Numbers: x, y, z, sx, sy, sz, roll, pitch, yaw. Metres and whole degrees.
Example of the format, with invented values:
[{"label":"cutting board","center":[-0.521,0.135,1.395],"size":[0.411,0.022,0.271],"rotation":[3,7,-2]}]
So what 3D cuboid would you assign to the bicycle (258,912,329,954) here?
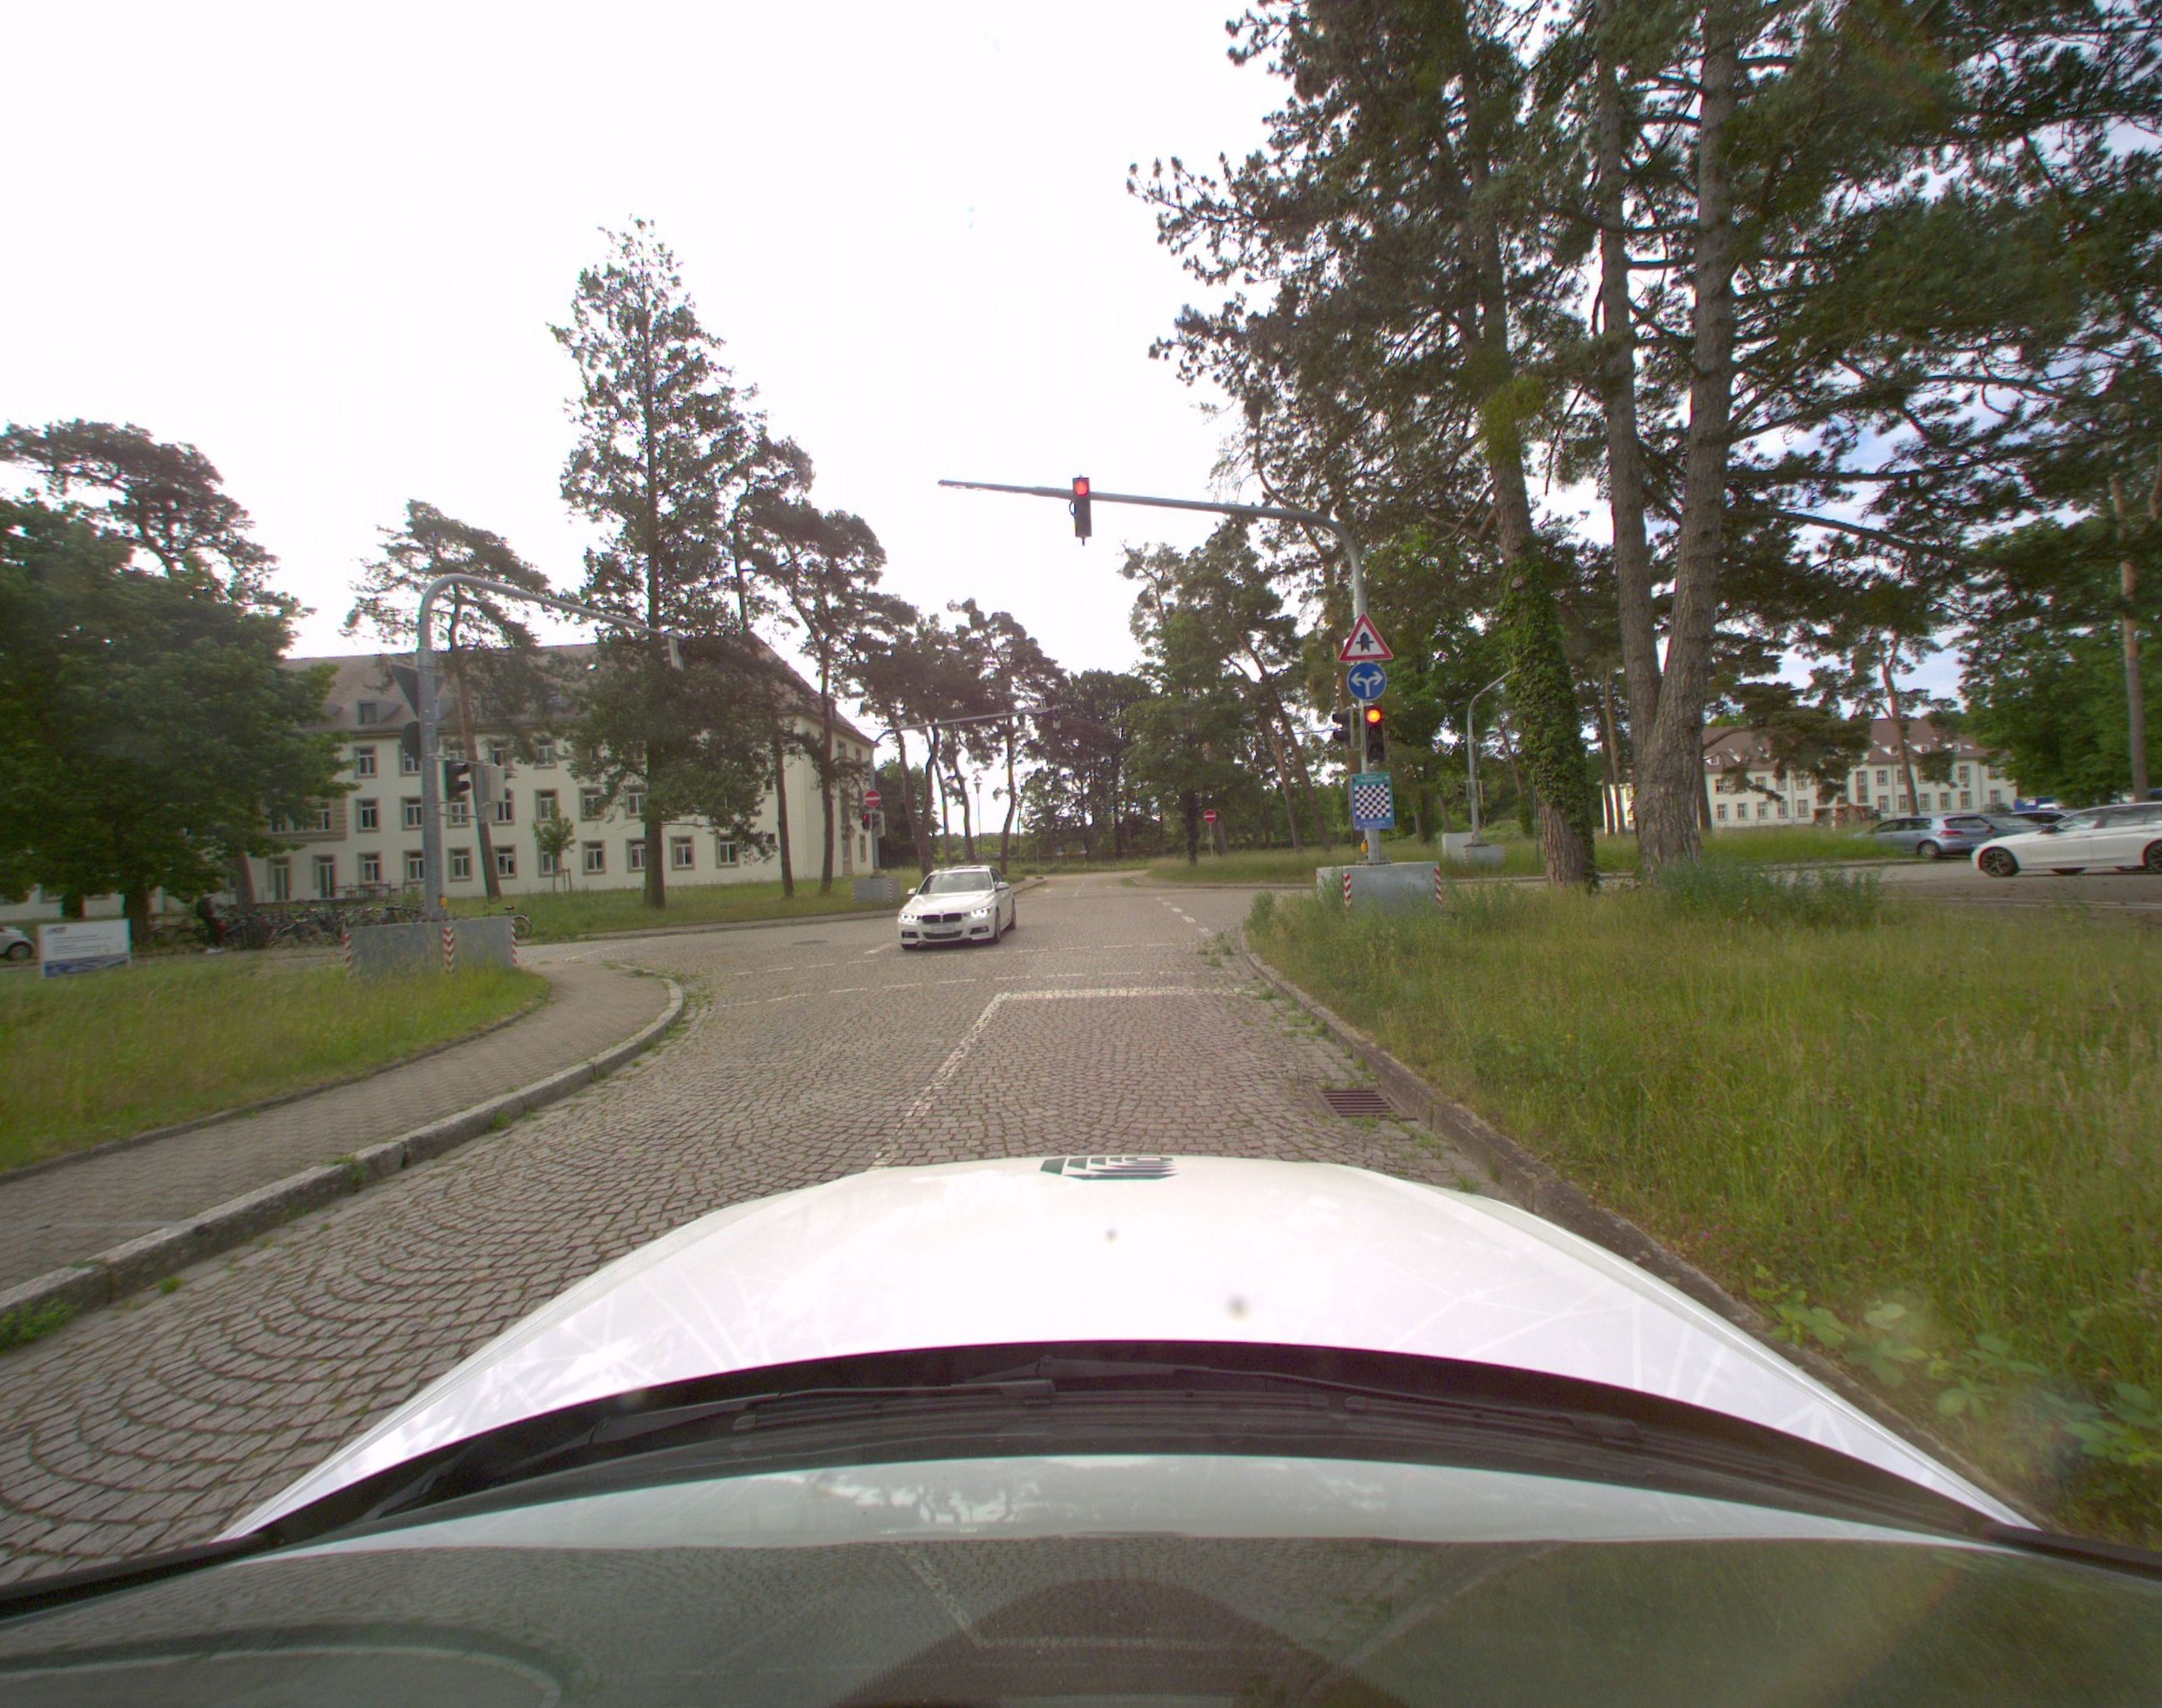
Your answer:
[{"label":"bicycle","center":[-23.616,2.344,24.459],"size":[0.512,1.079,1.586],"rotation":[-3,-1,2]}]

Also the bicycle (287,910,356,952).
[{"label":"bicycle","center":[-22.780,2.289,24.469],"size":[0.512,1.079,1.586],"rotation":[-3,-1,2]}]

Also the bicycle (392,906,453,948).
[{"label":"bicycle","center":[-19.787,2.178,24.511],"size":[0.513,1.079,1.584],"rotation":[-3,-1,-1]}]

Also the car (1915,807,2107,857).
[{"label":"car","center":[31.317,-0.687,27.642],"size":[1.727,1.468,4.246],"rotation":[-3,0,3]}]

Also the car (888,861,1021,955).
[{"label":"car","center":[-2.349,0.954,16.232],"size":[1.767,1.438,4.219],"rotation":[-5,0,1]}]

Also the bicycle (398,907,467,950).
[{"label":"bicycle","center":[-18.400,2.098,23.119],"size":[1.460,1.079,0.516],"rotation":[-4,-1,-1]}]

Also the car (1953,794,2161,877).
[{"label":"car","center":[21.333,-0.347,16.693],"size":[1.843,1.487,4.605],"rotation":[-2,-3,-1]}]

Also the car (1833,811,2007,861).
[{"label":"car","center":[28.706,-0.584,28.090],"size":[1.727,1.509,4.246],"rotation":[-3,0,3]}]

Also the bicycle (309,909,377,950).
[{"label":"bicycle","center":[-22.159,2.251,24.487],"size":[0.512,1.079,1.586],"rotation":[-3,-1,2]}]

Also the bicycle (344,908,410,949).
[{"label":"bicycle","center":[-21.167,2.214,24.523],"size":[0.512,1.079,1.586],"rotation":[-3,-1,2]}]

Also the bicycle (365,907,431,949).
[{"label":"bicycle","center":[-20.466,2.195,24.426],"size":[0.512,1.079,1.587],"rotation":[-4,-1,4]}]

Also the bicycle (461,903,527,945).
[{"label":"bicycle","center":[-16.765,1.982,23.277],"size":[1.460,1.065,0.516],"rotation":[-4,-1,-1]}]

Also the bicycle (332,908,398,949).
[{"label":"bicycle","center":[-21.528,2.224,24.530],"size":[0.512,1.079,1.586],"rotation":[-3,-1,2]}]

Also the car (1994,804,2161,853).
[{"label":"car","center":[34.067,-0.827,27.606],"size":[1.725,1.468,4.252],"rotation":[-3,0,7]}]

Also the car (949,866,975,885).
[{"label":"car","center":[-11.789,2.126,81.053],"size":[1.988,1.846,3.997],"rotation":[-1,-1,-1]}]

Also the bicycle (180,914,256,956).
[{"label":"bicycle","center":[-25.938,2.428,24.506],"size":[0.512,1.079,1.586],"rotation":[-3,-1,2]}]

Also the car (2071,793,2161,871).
[{"label":"car","center":[23.966,-0.566,16.787],"size":[1.777,1.605,4.240],"rotation":[-3,-3,-2]}]

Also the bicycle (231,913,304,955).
[{"label":"bicycle","center":[-24.411,2.382,24.464],"size":[0.512,1.079,1.586],"rotation":[-3,-1,2]}]

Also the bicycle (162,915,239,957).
[{"label":"bicycle","center":[-26.439,2.442,24.499],"size":[0.512,1.079,1.586],"rotation":[-3,-1,2]}]

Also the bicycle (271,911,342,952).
[{"label":"bicycle","center":[-23.232,2.304,24.465],"size":[0.512,1.079,1.586],"rotation":[-3,-1,2]}]

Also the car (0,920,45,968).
[{"label":"car","center":[-34.280,2.859,24.936],"size":[1.511,1.428,2.788],"rotation":[-2,-1,1]}]

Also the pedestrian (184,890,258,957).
[{"label":"pedestrian","center":[-25.079,2.001,23.751],"size":[1.050,1.788,1.165],"rotation":[-3,1,29]}]

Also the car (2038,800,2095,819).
[{"label":"car","center":[109.997,-4.940,90.896],"size":[4.049,1.905,1.927],"rotation":[-1,-1,-1]}]
